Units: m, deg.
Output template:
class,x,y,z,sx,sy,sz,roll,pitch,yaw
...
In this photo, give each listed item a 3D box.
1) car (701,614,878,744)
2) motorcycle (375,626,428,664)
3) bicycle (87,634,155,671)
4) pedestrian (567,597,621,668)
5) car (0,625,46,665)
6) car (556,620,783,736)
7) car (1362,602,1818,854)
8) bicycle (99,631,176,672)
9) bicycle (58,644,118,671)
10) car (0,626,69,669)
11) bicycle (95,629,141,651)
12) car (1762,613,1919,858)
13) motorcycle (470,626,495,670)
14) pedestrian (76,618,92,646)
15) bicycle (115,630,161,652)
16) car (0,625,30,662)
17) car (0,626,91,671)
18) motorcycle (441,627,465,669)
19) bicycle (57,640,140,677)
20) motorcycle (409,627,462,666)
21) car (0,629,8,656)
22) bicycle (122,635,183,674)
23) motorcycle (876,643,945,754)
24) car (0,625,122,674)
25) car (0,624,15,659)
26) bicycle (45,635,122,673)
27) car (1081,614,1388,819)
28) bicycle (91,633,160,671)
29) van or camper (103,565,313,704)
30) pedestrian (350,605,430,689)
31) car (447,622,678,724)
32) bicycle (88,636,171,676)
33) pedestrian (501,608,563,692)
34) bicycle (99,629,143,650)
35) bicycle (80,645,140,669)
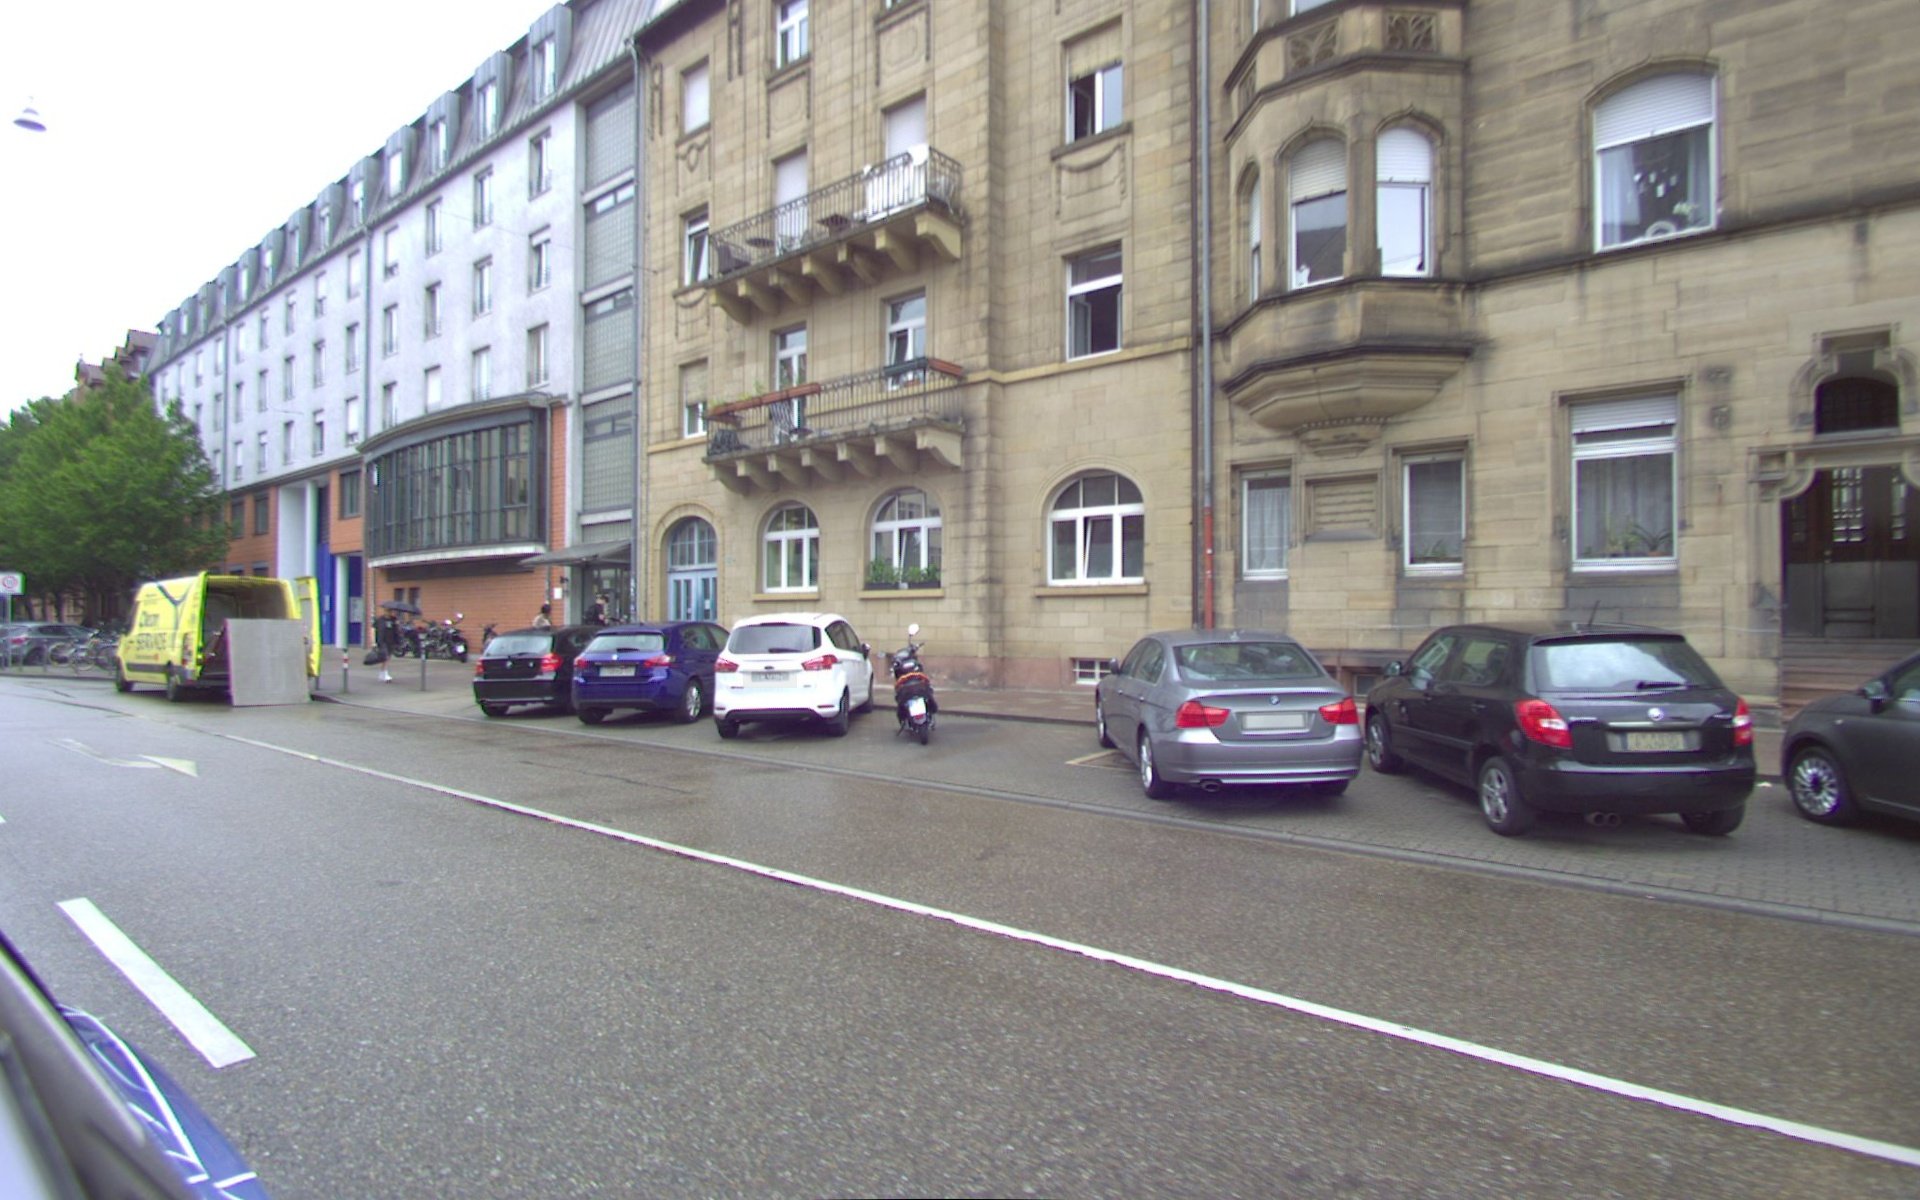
class,x,y,z,sx,sy,sz,roll,pitch,yaw
car,-2.243,1.030,14.367,1.774,1.567,4.042,0,-2,1
motorcycle,-18.128,1.450,32.825,2.273,1.165,0.827,-2,-1,43
bicycle,-26.901,1.684,32.471,0.519,1.114,1.591,-1,-1,36
pedestrian,-9.187,0.814,25.434,0.785,1.741,0.997,-1,-2,32
car,-37.923,1.771,39.646,1.432,1.564,3.078,-1,-1,0
car,-4.411,1.141,16.049,1.780,1.585,4.028,0,-2,12
car,4.758,0.870,8.306,1.584,1.610,3.551,0,-2,2
bicycle,-25.416,1.572,31.306,0.518,1.203,1.797,-1,-1,27
bicycle,-28.470,1.858,33.050,0.498,0.811,1.454,-1,-1,43
car,-35.525,1.762,38.012,1.432,1.514,3.078,-1,-1,0
bicycle,-39.686,1.885,47.730,0.464,0.992,1.573,-1,-2,33
car,6.954,0.855,6.060,1.630,1.570,3.400,0,-2,2
motorcycle,-13.640,1.356,28.911,0.516,1.190,1.763,0,-1,-30
pedestrian,-49.523,1.809,57.196,0.533,1.609,0.564,-2,-3,42
bicycle,-37.751,1.878,46.492,0.464,0.992,1.573,-1,-2,33
car,-42.156,1.894,43.521,1.358,1.567,2.970,-1,-1,12
car,-33.443,1.713,36.434,1.436,1.514,3.069,-1,-1,9
motorcycle,-14.891,1.387,29.711,0.516,1.190,2.010,0,-1,-30
bicycle,-25.165,1.690,29.596,0.519,1.001,1.778,-1,-1,38
motorcycle,-16.290,1.432,31.420,2.203,1.165,0.643,-1,-1,39
car,-54.574,2.336,55.430,1.663,1.502,3.798,1,-3,-9
bicycle,-24.634,1.648,30.901,1.439,1.111,0.462,0,-1,-35
motorcycle,-0.582,1.167,12.541,0.626,1.170,1.870,0,0,4
car,-31.165,1.644,34.598,1.721,1.514,3.613,0,-1,9
car,-44.245,1.893,45.320,1.138,1.567,2.672,-1,-1,12
bicycle,-27.857,1.715,32.192,0.472,1.114,1.791,-1,-1,36
car,2.365,0.964,10.001,1.664,1.557,4.549,0,-2,-2
bicycle,-26.381,1.632,32.014,0.518,1.114,1.596,-1,-1,27
van or camper,-16.368,0.756,21.901,5.935,2.631,2.174,-1,-3,39
pedestrian,-13.160,1.054,23.365,1.061,1.860,1.336,-2,-1,41
car,-6.652,1.181,17.455,1.780,1.523,4.028,0,-2,12
bicycle,-24.164,1.620,29.480,1.832,1.081,0.610,0,-1,-44
pedestrian,-9.236,1.061,21.834,1.171,1.741,0.777,-2,-1,40
bicycle,-40.930,1.912,49.396,0.464,0.992,1.573,-1,-2,33
bicycle,-27.726,1.857,33.038,0.498,0.727,1.454,-1,-1,43
